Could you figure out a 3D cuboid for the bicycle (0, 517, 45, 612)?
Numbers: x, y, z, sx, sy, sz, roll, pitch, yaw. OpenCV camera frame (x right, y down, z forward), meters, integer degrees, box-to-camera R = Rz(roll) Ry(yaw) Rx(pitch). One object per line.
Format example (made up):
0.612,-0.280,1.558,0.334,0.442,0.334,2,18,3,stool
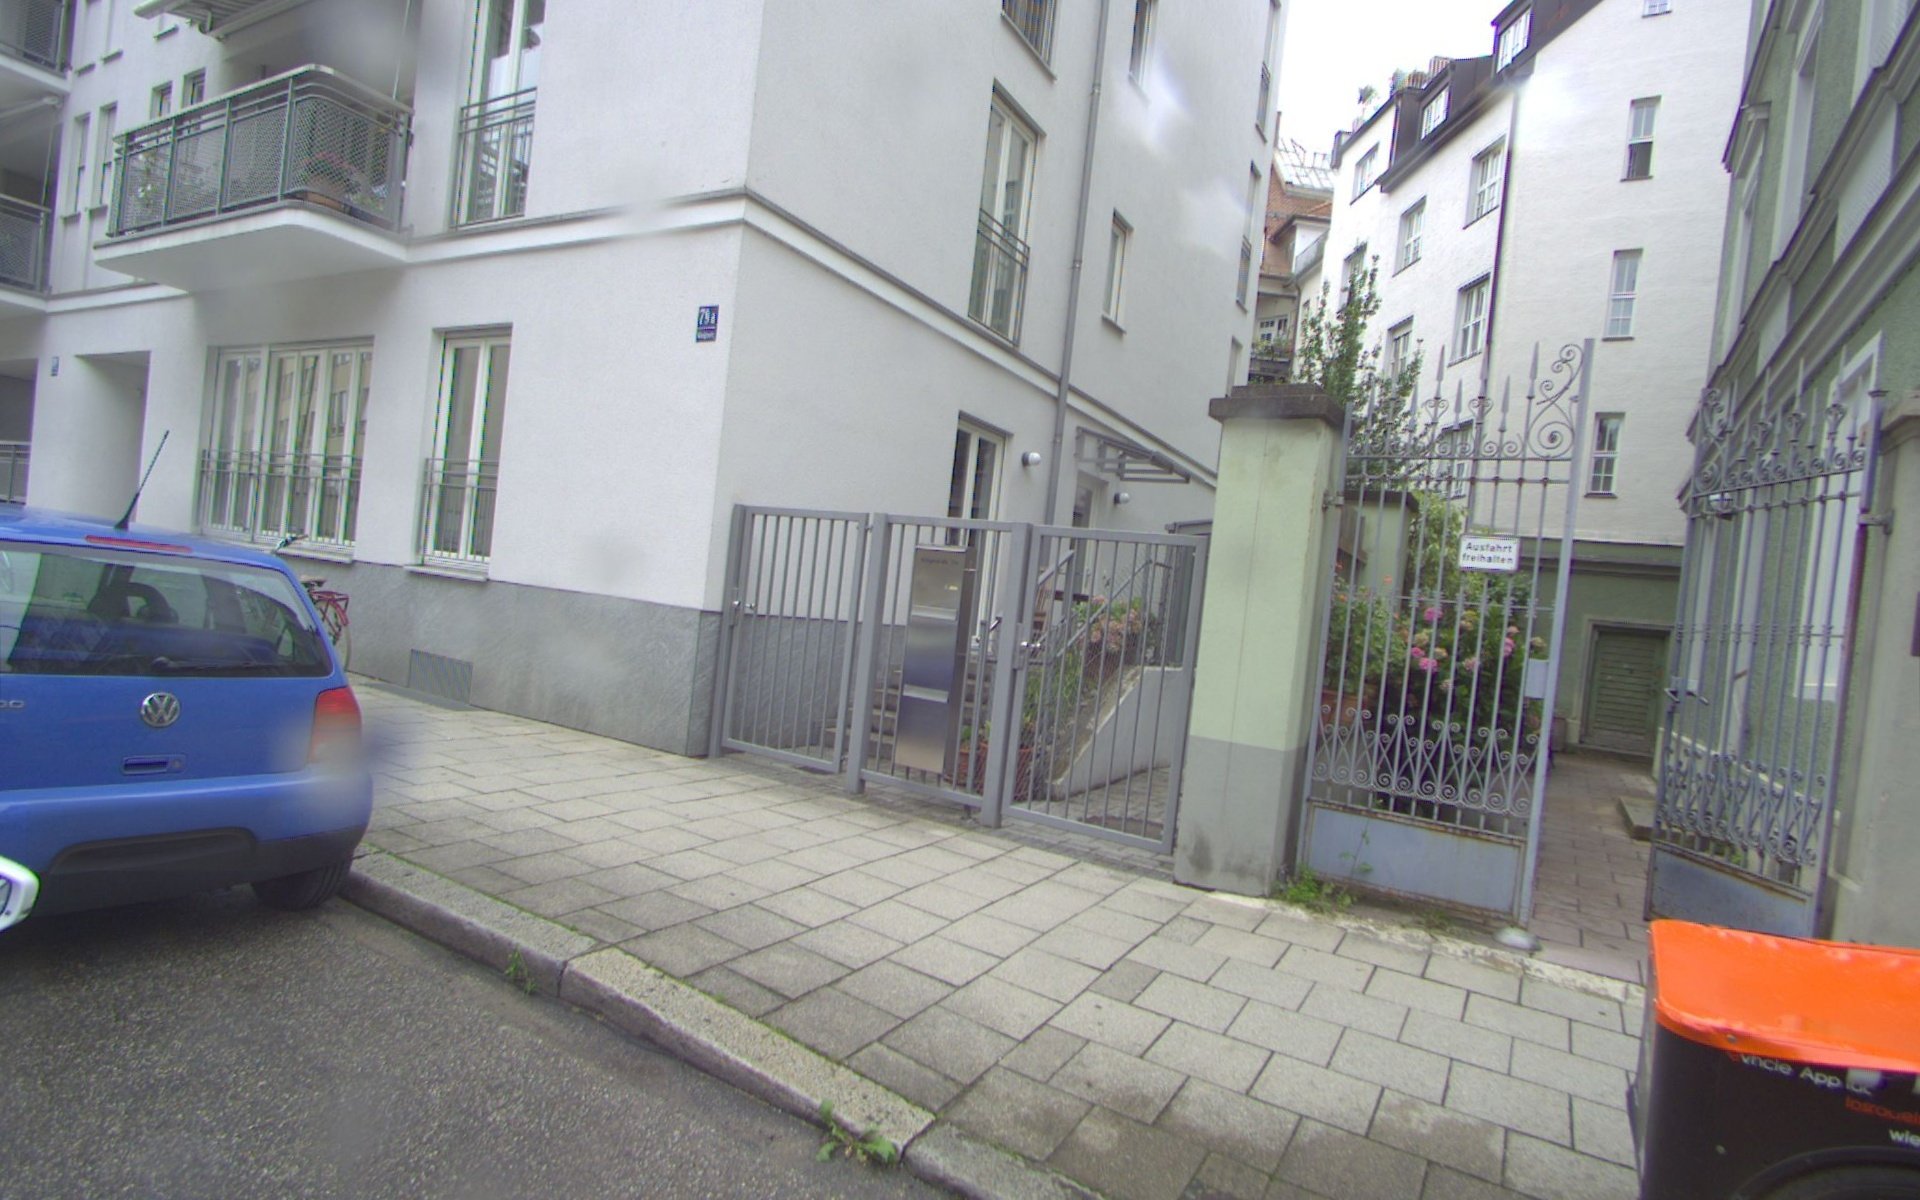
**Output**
-13.112,-0.546,13.417,2.090,1.175,0.628,7,1,28,bicycle

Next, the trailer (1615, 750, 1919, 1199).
2.510,1.105,1.823,2.130,1.200,0.941,7,4,36,trailer

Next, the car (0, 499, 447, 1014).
-3.960,0.324,3.988,3.492,1.428,1.623,6,-2,29,car

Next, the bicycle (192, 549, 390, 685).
-6.000,0.140,8.998,1.804,1.041,0.678,5,0,30,bicycle
